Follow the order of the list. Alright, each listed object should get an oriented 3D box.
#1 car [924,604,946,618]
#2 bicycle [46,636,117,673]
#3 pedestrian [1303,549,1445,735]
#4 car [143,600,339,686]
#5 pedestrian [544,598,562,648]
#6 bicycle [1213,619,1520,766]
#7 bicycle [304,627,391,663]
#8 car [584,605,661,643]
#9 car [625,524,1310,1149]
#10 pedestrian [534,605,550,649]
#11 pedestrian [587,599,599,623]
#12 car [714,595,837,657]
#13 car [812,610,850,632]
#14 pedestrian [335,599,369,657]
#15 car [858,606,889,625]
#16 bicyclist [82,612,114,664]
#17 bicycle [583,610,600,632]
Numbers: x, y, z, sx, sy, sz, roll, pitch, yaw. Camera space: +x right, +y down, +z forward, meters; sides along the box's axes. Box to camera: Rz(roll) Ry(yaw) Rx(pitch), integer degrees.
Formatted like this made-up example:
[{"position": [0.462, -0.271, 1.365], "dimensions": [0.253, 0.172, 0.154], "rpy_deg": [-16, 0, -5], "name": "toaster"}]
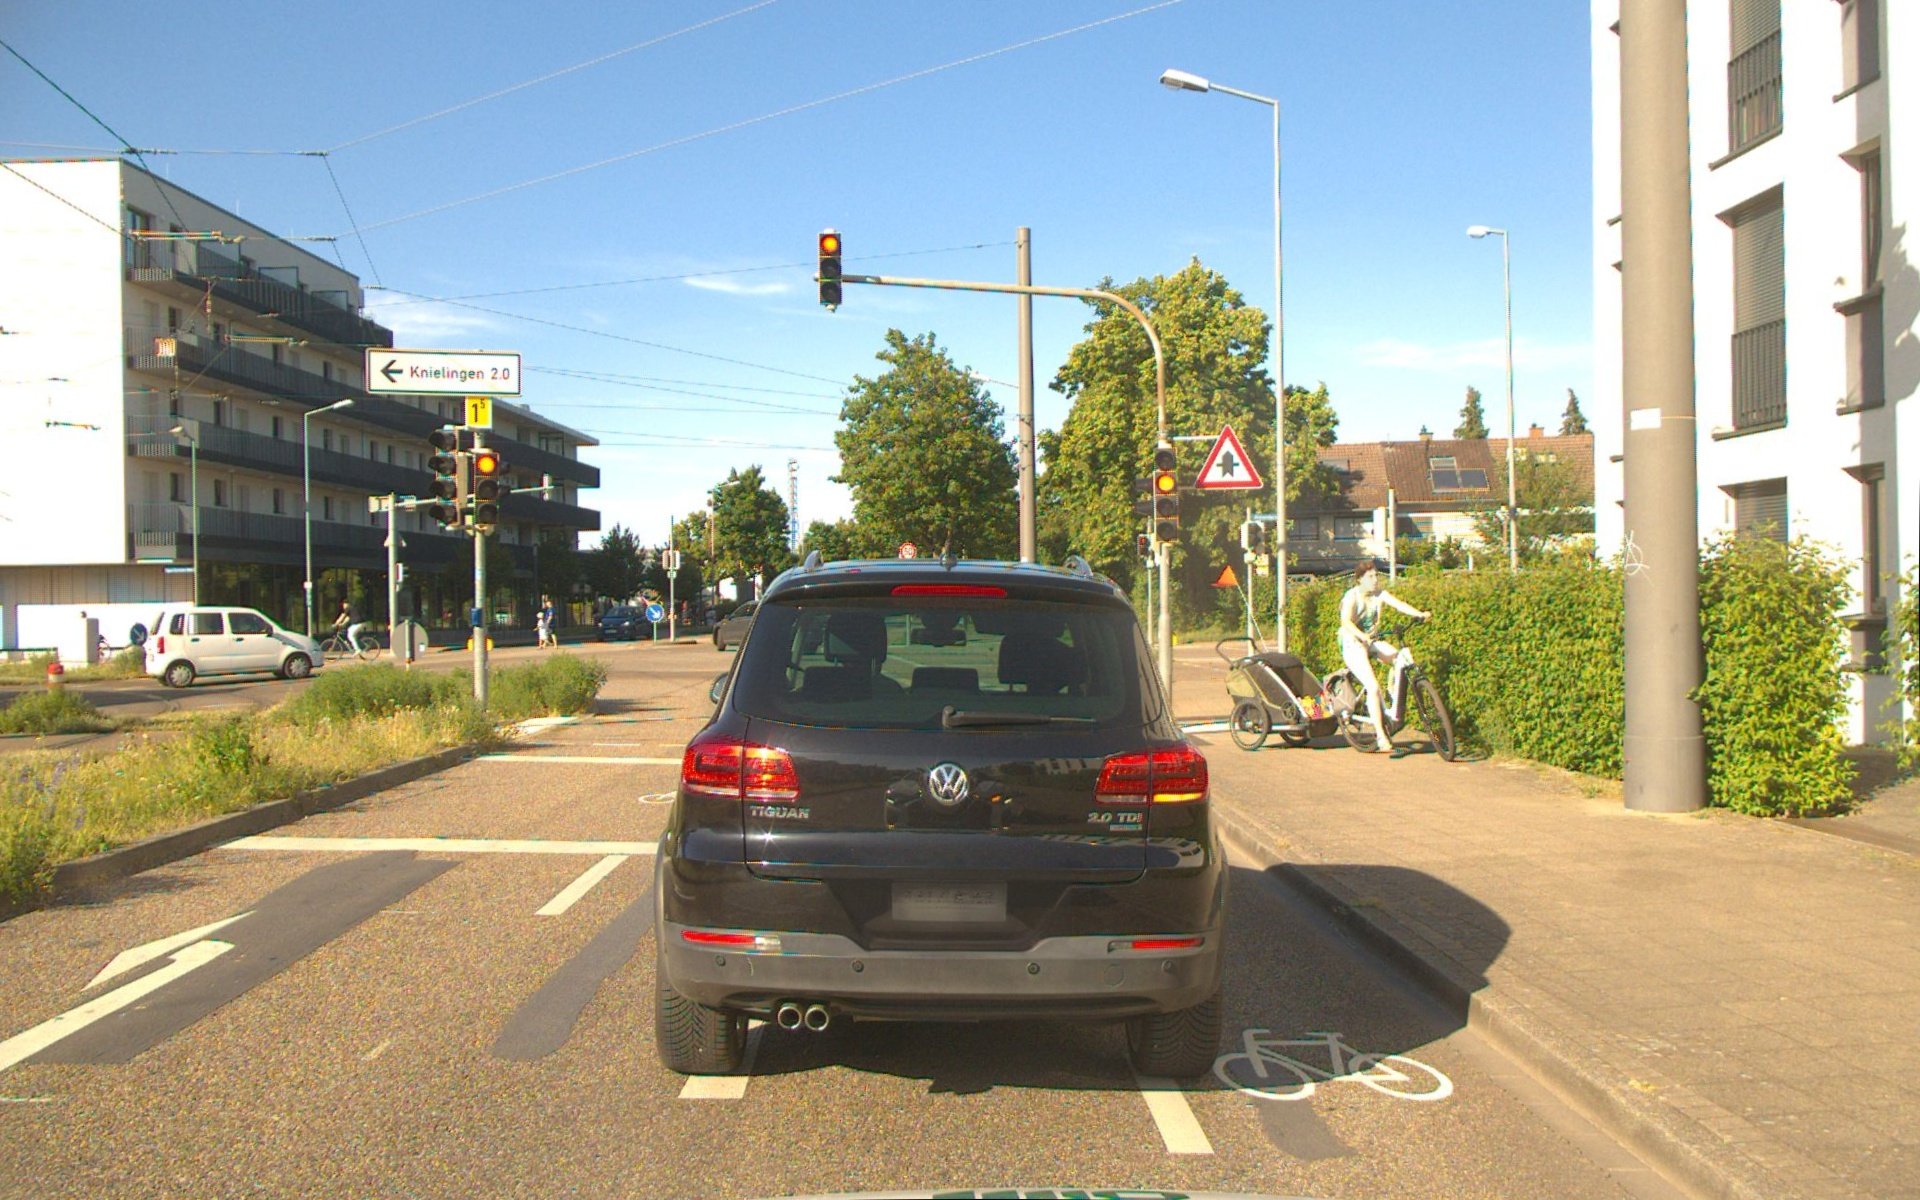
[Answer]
[{"position": [-2.770, 1.239, 185.642], "dimensions": [1.951, 1.601, 4.342], "rpy_deg": [1, 0, 7], "name": "car"}, {"position": [-28.359, 1.765, 53.414], "dimensions": [1.819, 1.144, 0.821], "rpy_deg": [1, 0, -7], "name": "bicycle"}, {"position": [3.762, 0.369, 15.064], "dimensions": [0.900, 1.622, 0.846], "rpy_deg": [-1, 0, -29], "name": "pedestrian"}, {"position": [-15.635, 0.892, 36.015], "dimensions": [3.645, 1.750, 1.847], "rpy_deg": [-1, 0, -36], "name": "car"}, {"position": [-14.669, 0.833, 59.642], "dimensions": [0.532, 1.774, 0.517], "rpy_deg": [1, -1, -6], "name": "pedestrian"}, {"position": [3.655, 0.787, 15.299], "dimensions": [0.918, 1.194, 3.096], "rpy_deg": [-1, 0, -28], "name": "bicycle"}, {"position": [-18.549, 1.371, 50.147], "dimensions": [2.362, 1.020, 0.640], "rpy_deg": [-1, 0, -4], "name": "bicycle"}, {"position": [-15.055, 1.042, 73.998], "dimensions": [1.951, 1.601, 4.343], "rpy_deg": [1, 0, 9], "name": "car"}, {"position": [-0.003, 0.650, 6.480], "dimensions": [1.831, 1.666, 3.999], "rpy_deg": [1, 0, -1], "name": "car"}, {"position": [-14.910, 0.960, 59.001], "dimensions": [0.433, 1.529, 0.517], "rpy_deg": [1, -1, -6], "name": "pedestrian"}, {"position": [-23.485, 0.697, 105.752], "dimensions": [0.629, 1.535, 0.596], "rpy_deg": [1, -1, -1], "name": "pedestrian"}, {"position": [-5.409, 0.724, 48.135], "dimensions": [1.976, 1.713, 3.952], "rpy_deg": [1, 0, -34], "name": "car"}, {"position": [-9.479, 1.527, 121.806], "dimensions": [1.951, 1.601, 4.342], "rpy_deg": [1, 0, 7], "name": "car"}, {"position": [-18.430, 0.845, 50.165], "dimensions": [0.797, 1.721, 0.620], "rpy_deg": [-1, 0, -3], "name": "pedestrian"}, {"position": [-7.657, 1.340, 146.877], "dimensions": [1.951, 1.601, 4.342], "rpy_deg": [1, 0, 7], "name": "car"}, {"position": [-27.868, 1.232, 53.475], "dimensions": [0.626, 1.642, 0.784], "rpy_deg": [1, -1, -7], "name": "bicyclist"}, {"position": [-23.499, 1.333, 105.533], "dimensions": [0.617, 1.355, 1.912], "rpy_deg": [1, 0, -1], "name": "bicycle"}]
